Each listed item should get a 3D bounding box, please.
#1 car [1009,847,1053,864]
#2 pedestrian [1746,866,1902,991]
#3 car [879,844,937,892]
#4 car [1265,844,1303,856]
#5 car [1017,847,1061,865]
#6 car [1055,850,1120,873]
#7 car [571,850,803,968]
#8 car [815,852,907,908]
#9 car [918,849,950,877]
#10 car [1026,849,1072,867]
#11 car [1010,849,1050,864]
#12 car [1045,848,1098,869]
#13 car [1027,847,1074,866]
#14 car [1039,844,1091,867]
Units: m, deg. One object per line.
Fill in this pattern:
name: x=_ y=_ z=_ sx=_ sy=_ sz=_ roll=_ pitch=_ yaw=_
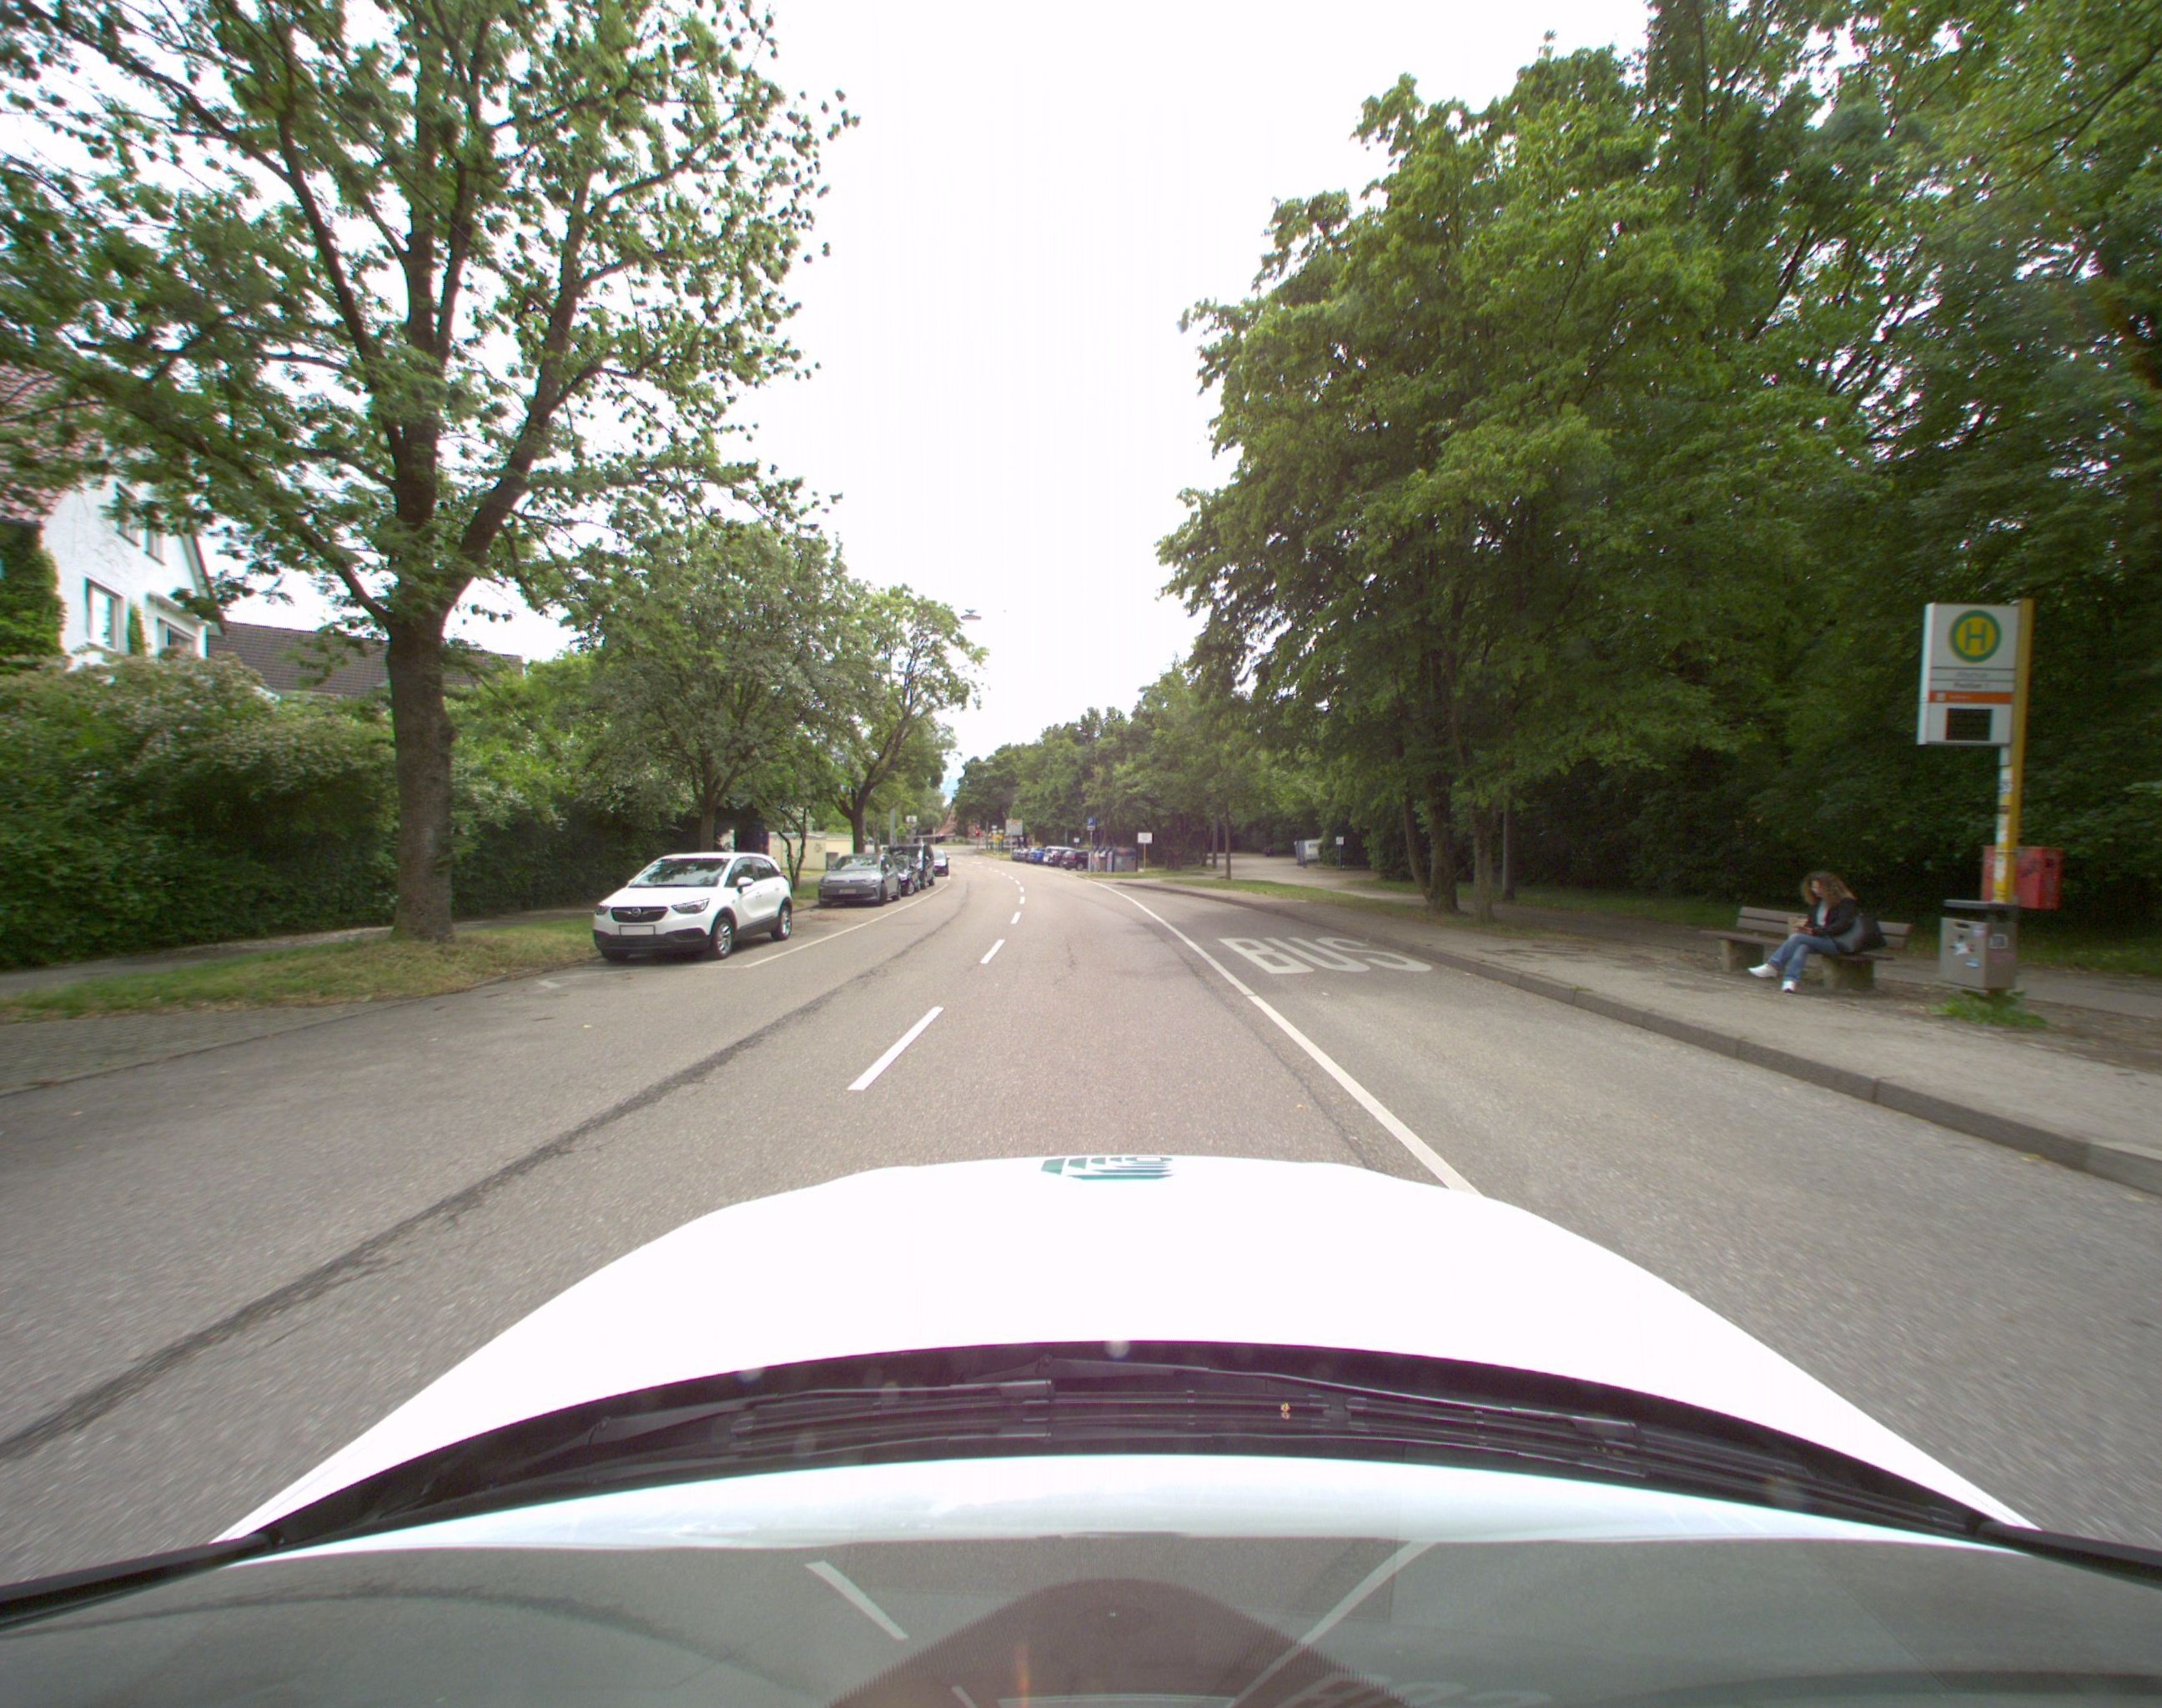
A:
car: x=-4.931 y=0.148 z=80.386 sx=3.897 sy=1.426 sz=1.812 roll=3 pitch=-1 yaw=-31
pedestrian: x=7.395 y=0.724 z=8.137 sx=1.061 sy=1.182 sz=0.579 roll=0 pitch=0 yaw=-3
car: x=-7.303 y=0.535 z=34.840 sx=1.855 sy=1.909 sz=5.073 roll=0 pitch=0 yaw=-5
car: x=24.349 y=-0.424 z=97.733 sx=3.981 sy=1.409 sz=1.797 roll=0 pitch=0 yaw=-6
car: x=-3.972 y=0.176 z=77.360 sx=3.843 sy=1.528 sz=1.729 roll=3 pitch=-1 yaw=-31
car: x=0.470 y=0.525 z=57.183 sx=4.012 sy=1.414 sz=2.038 roll=3 pitch=1 yaw=-31
car: x=-6.089 y=0.741 z=13.198 sx=1.730 sy=1.578 sz=4.140 roll=-1 pitch=0 yaw=0
car: x=-6.581 y=0.729 z=24.850 sx=1.862 sy=1.538 sz=4.222 roll=0 pitch=0 yaw=-3
car: x=-9.197 y=0.531 z=51.106 sx=1.805 sy=1.563 sz=4.253 roll=-3 pitch=1 yaw=-10
car: x=-2.961 y=0.366 z=75.554 sx=3.843 sy=1.528 sz=1.729 roll=3 pitch=-1 yaw=-31
car: x=-5.326 y=0.256 z=85.173 sx=3.843 sy=1.425 sz=1.729 roll=3 pitch=-1 yaw=-31
car: x=-0.729 y=0.344 z=65.248 sx=3.843 sy=1.468 sz=1.730 roll=3 pitch=0 yaw=-31
car: x=-2.710 y=0.221 z=72.641 sx=3.843 sy=1.528 sz=1.729 roll=3 pitch=-1 yaw=-31
car: x=-1.336 y=0.154 z=68.097 sx=3.843 sy=1.720 sz=1.860 roll=3 pitch=-1 yaw=-31
